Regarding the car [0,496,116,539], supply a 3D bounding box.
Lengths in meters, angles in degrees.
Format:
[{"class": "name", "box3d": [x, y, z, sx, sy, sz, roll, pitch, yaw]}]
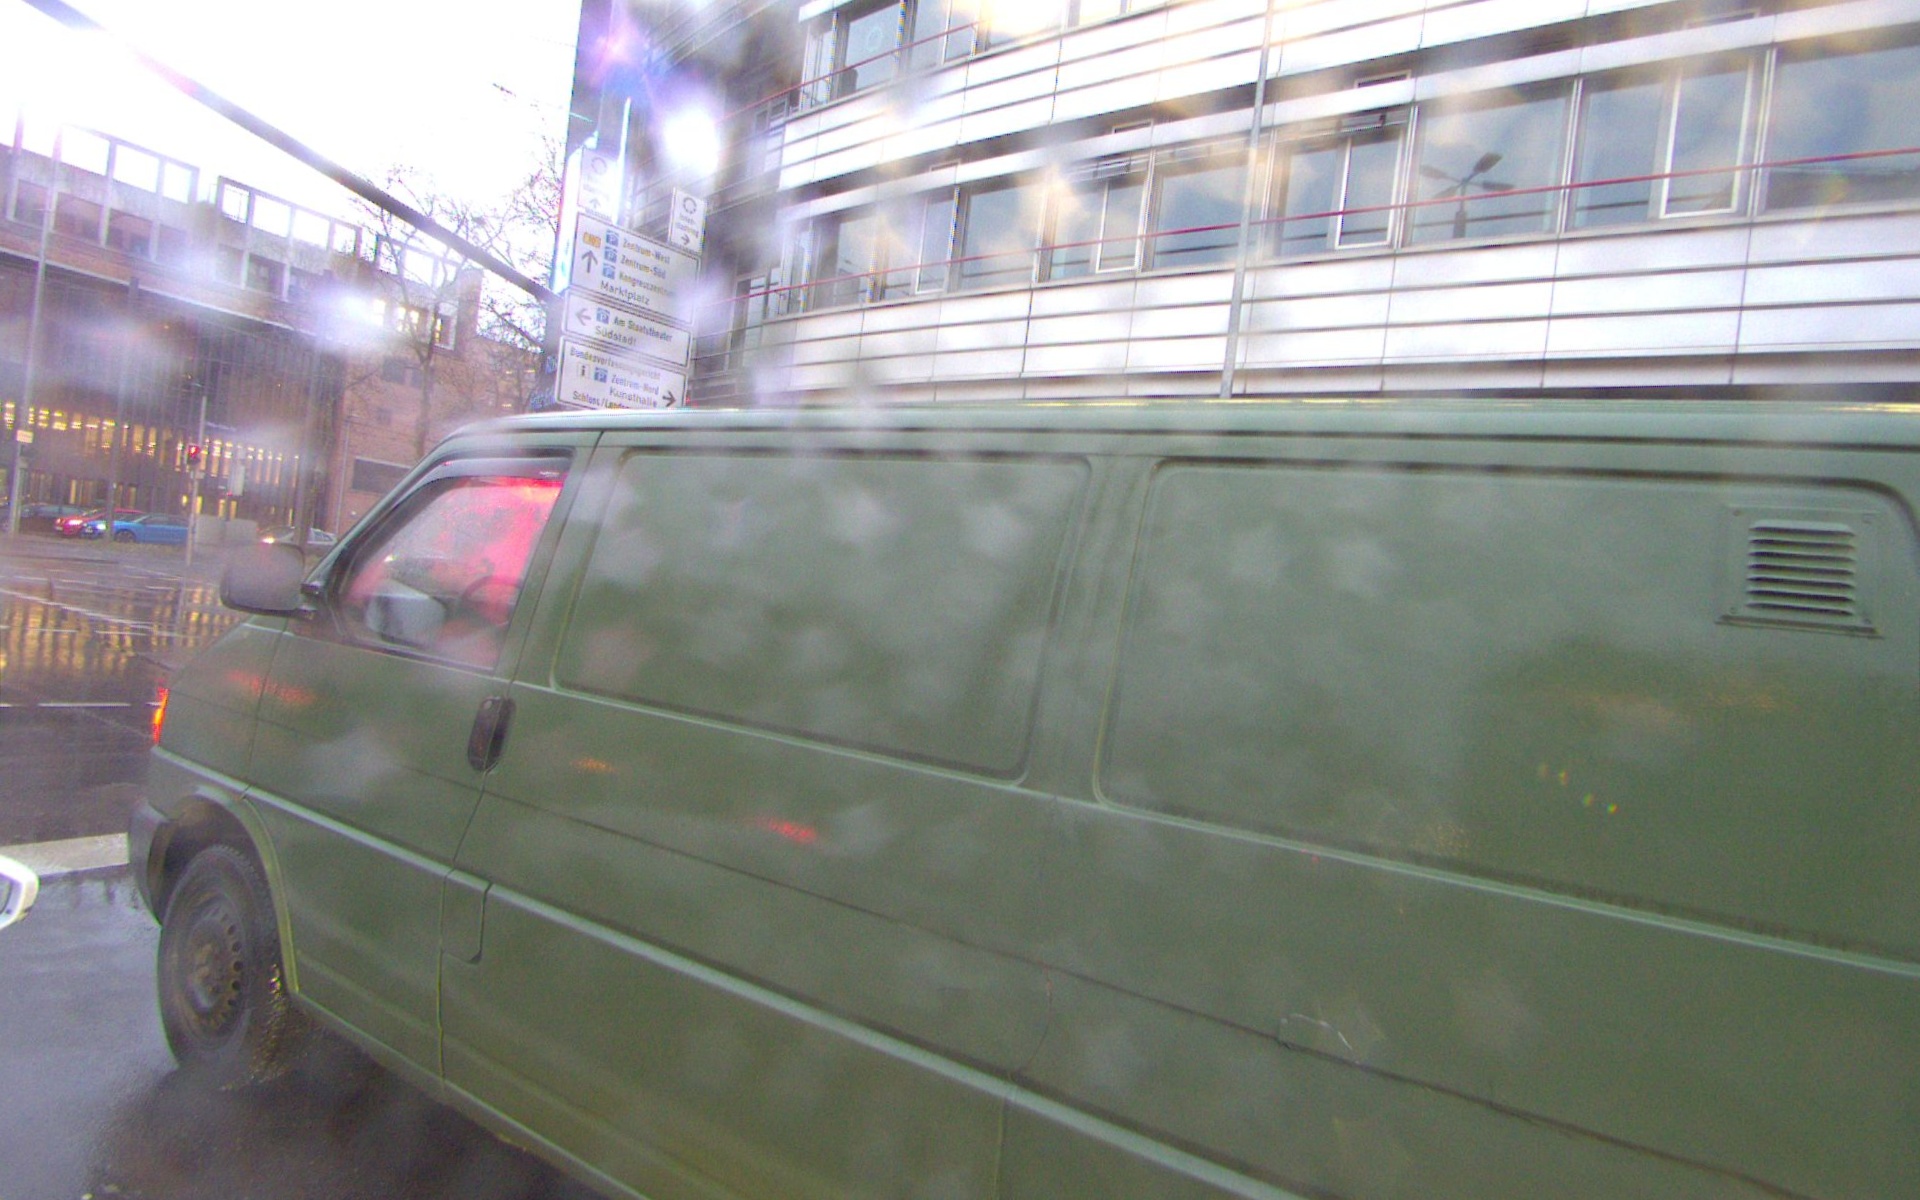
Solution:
[{"class": "car", "box3d": [-39.210, -3.567, 43.213, 1.965, 1.326, 3.994, 7, 0, 28]}]

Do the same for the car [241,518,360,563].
[{"class": "car", "box3d": [-29.635, -2.660, 45.309, 1.814, 1.304, 3.997, 11, 1, 26]}]

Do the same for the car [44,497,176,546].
[{"class": "car", "box3d": [-35.482, -3.253, 42.105, 1.814, 1.278, 3.729, 11, 1, 26]}]

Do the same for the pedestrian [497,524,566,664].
[{"class": "pedestrian", "box3d": [-7.026, -0.095, 16.495, 0.609, 2.210, 0.576, 6, 0, 26]}]

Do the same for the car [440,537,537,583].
[{"class": "car", "box3d": [-23.563, -1.980, 50.411, 1.814, 1.621, 3.997, 11, 1, 26]}]

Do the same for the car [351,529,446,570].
[{"class": "car", "box3d": [-30.167, -2.697, 54.135, 1.814, 1.523, 3.997, 11, 1, 26]}]

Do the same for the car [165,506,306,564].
[{"class": "car", "box3d": [-28.303, -2.513, 39.445, 1.814, 1.523, 3.997, 11, 1, 26]}]

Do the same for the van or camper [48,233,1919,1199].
[{"class": "van or camper", "box3d": [-0.332, 0.525, 2.628, 4.345, 1.929, 1.760, 7, -1, 32]}]

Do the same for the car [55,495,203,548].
[{"class": "car", "box3d": [-32.439, -3.037, 39.387, 1.814, 1.278, 3.997, 11, 1, 26]}]
